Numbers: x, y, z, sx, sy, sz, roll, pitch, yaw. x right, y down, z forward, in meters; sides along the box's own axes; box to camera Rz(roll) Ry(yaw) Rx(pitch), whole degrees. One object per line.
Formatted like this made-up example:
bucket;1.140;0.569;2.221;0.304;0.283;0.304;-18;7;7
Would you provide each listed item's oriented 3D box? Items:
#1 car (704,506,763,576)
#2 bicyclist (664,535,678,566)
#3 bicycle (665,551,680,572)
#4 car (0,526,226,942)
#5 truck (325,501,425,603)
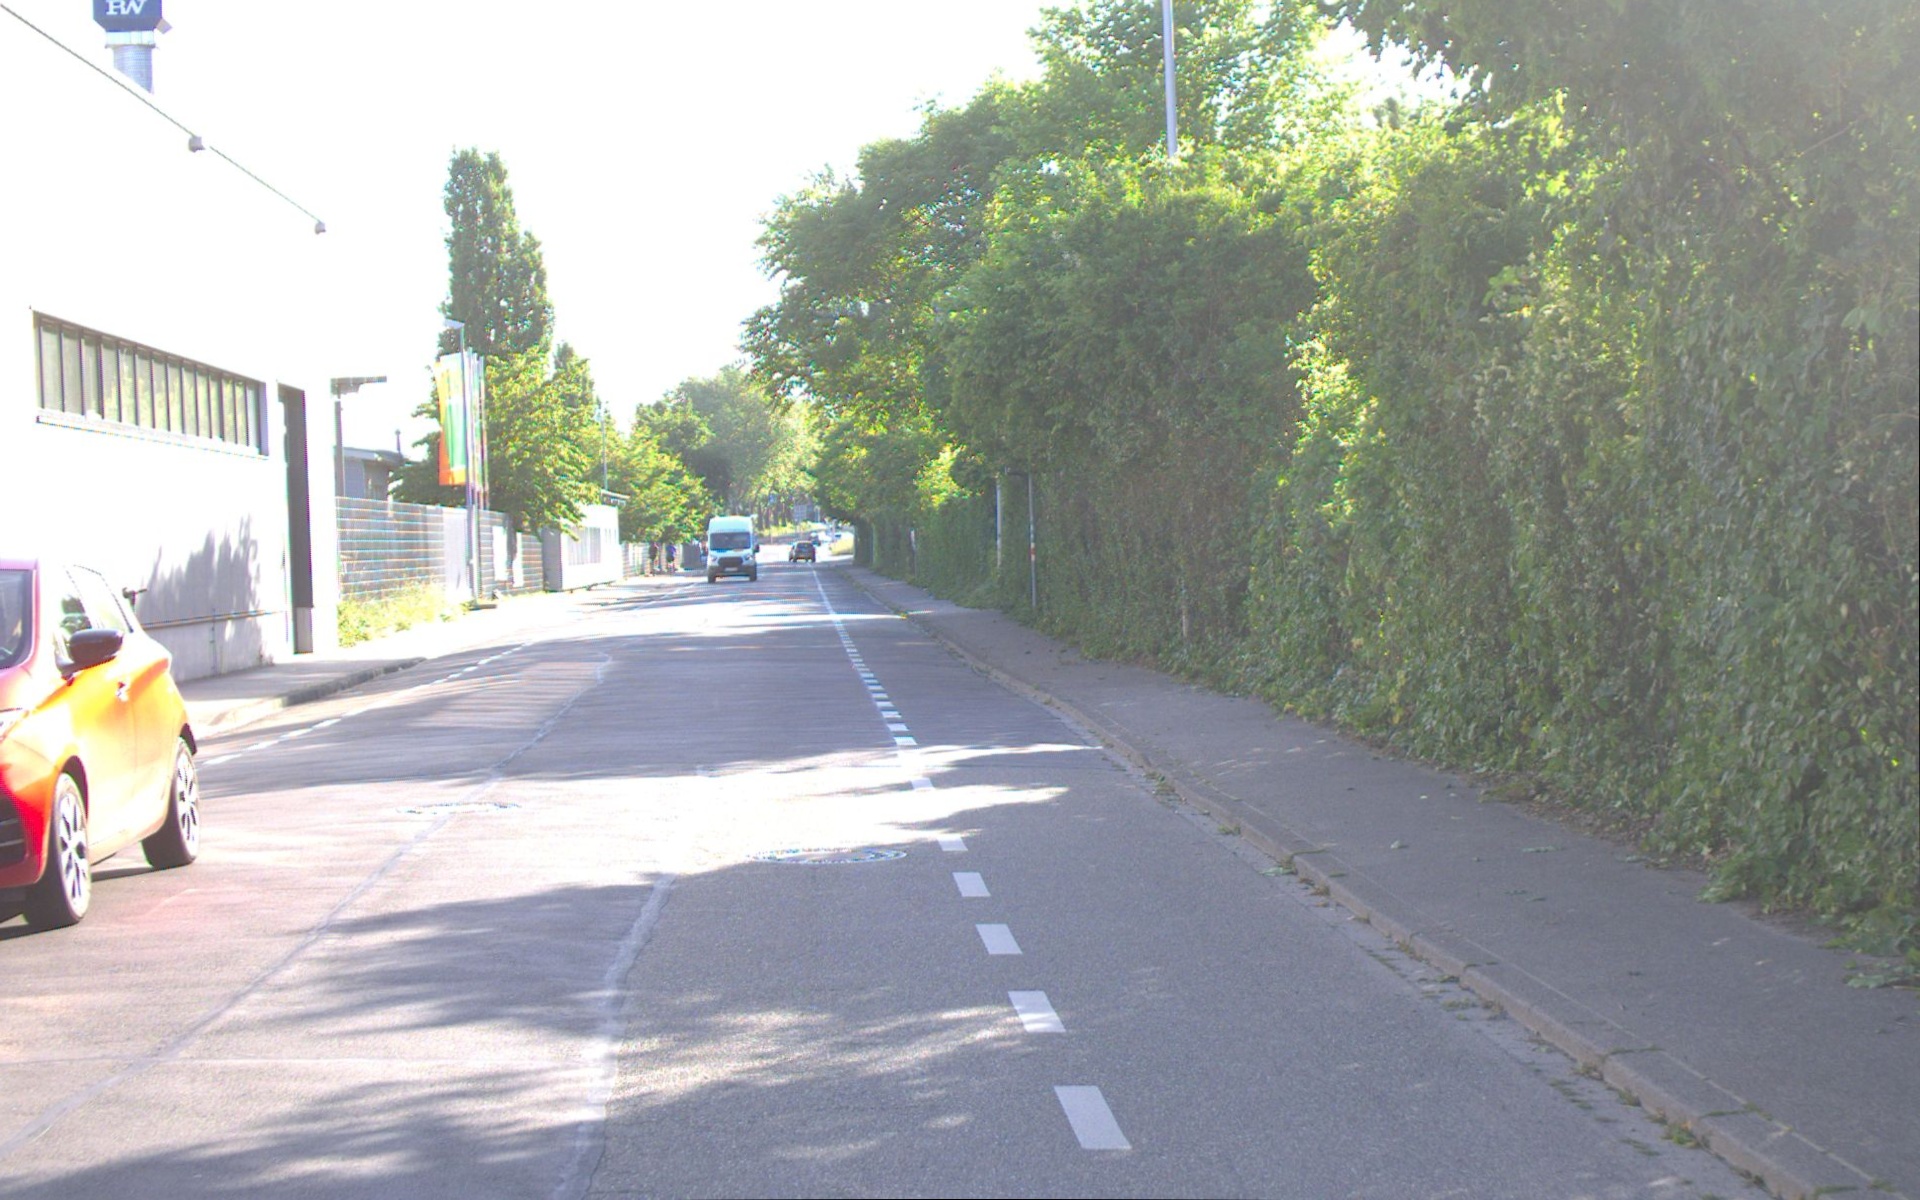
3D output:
car;-9.563;-2.489;145.480;2.123;2.771;5.927;-4;1;-2
bicyclist;-14.566;-2.507;173.258;0.689;1.526;0.722;0;1;-3
bicycle;-14.482;-1.933;173.279;0.689;1.030;1.351;0;1;-3
car;-4.432;0.550;14.729;1.720;1.534;4.076;-5;1;-2
truck;-16.704;-1.405;98.463;2.078;2.752;5.766;-2;1;-3
